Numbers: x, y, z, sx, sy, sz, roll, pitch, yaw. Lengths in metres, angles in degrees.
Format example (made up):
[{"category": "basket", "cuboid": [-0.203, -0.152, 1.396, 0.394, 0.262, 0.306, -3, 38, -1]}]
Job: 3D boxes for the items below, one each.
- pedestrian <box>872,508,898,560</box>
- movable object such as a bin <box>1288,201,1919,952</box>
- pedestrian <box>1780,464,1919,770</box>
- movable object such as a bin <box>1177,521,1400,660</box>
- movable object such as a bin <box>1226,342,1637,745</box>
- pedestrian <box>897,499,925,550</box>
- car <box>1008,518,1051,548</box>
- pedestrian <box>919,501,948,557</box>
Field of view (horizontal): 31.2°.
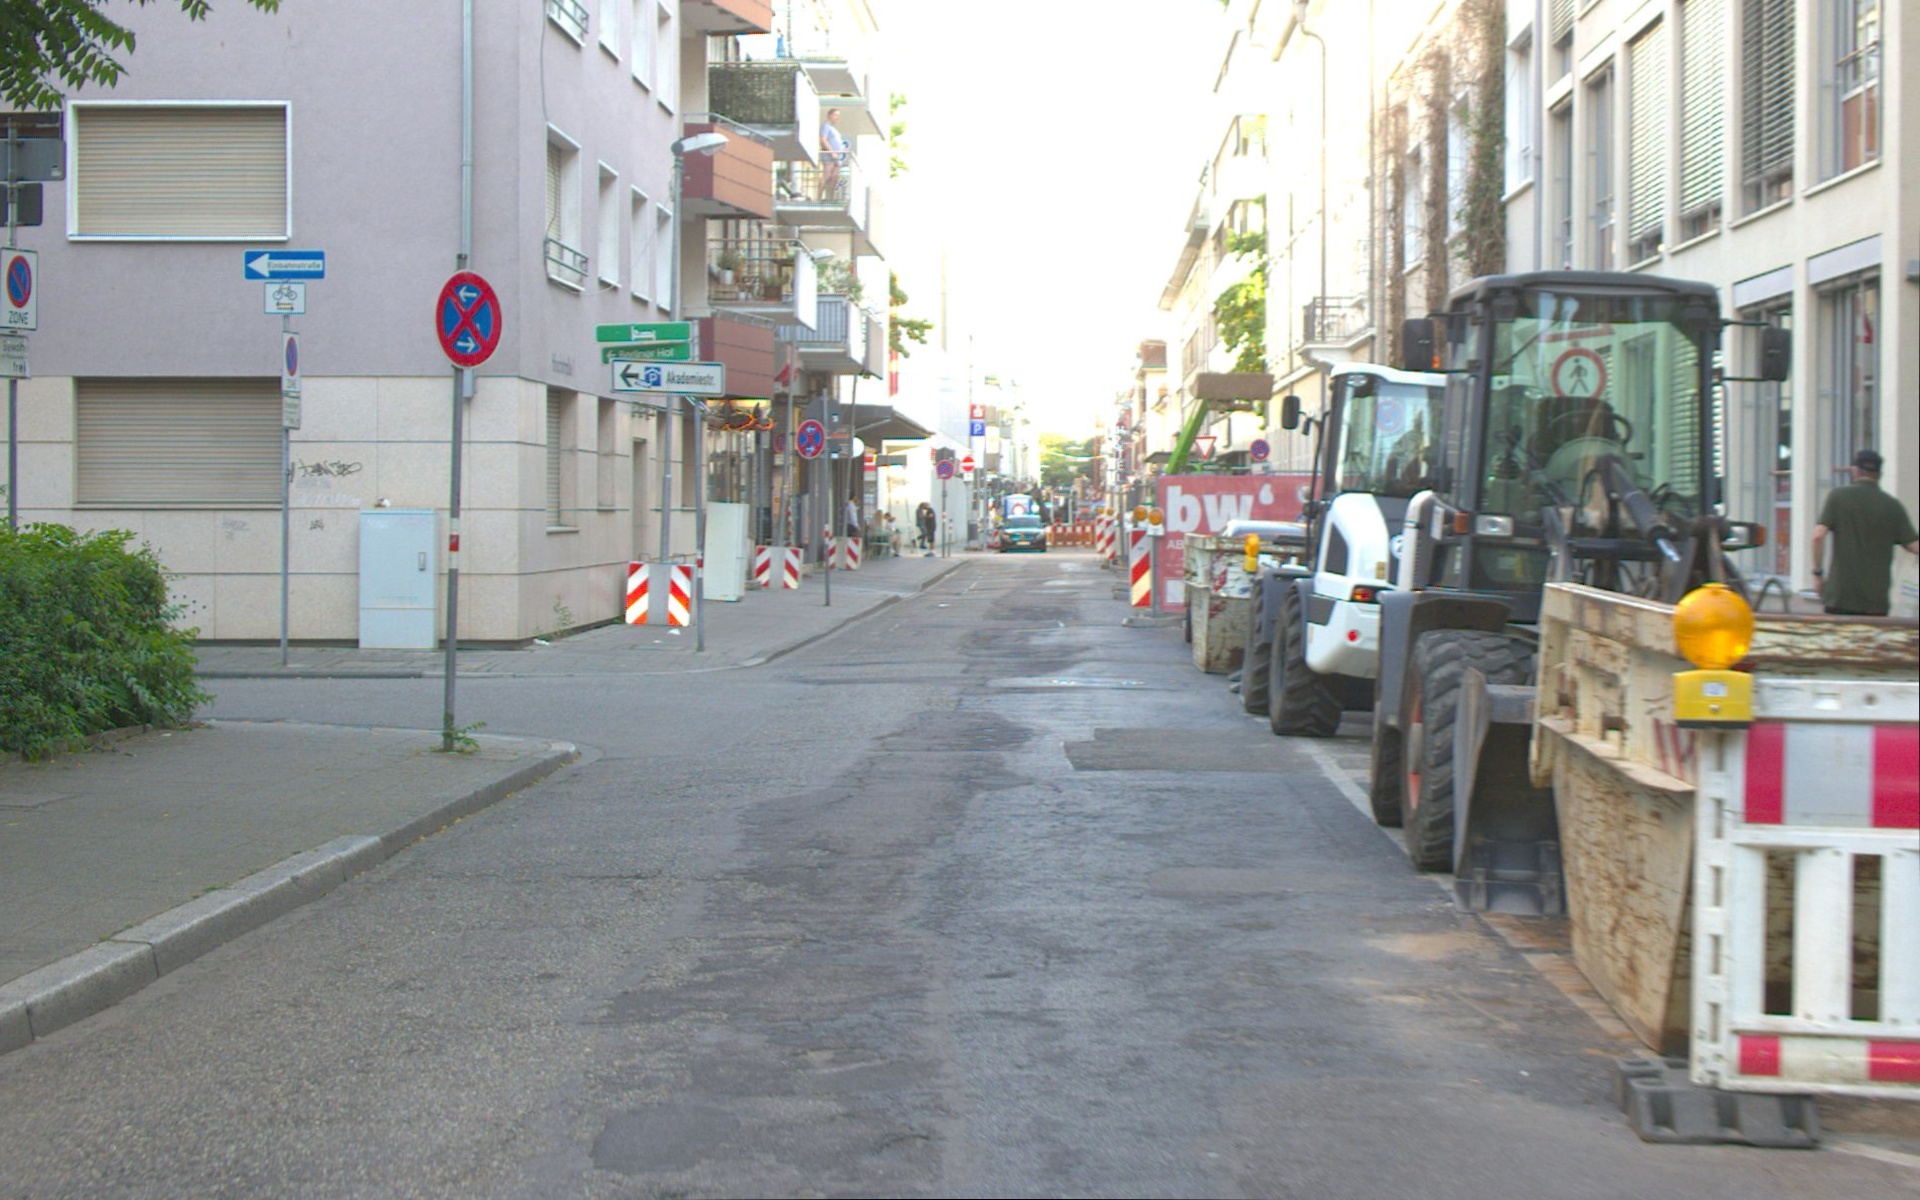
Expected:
[{"category": "pedestrian", "cuboid": [-2.106, -1.853, 96.352, 0.664, 1.433, 0.533, 0, 1, 6]}, {"category": "movable object such as a bin", "cuboid": [2.844, -0.160, 15.117, 2.277, 2.683, 5.649, 0, 2, 0]}, {"category": "pedestrian", "cuboid": [5.605, 0.092, 21.266, 0.887, 1.844, 0.876, 0, 1, 5]}, {"category": "movable object such as a bin", "cuboid": [3.491, -0.143, 37.216, 2.046, 1.406, 3.975, 0, 2, 0]}, {"category": "movable object such as a bin", "cuboid": [3.127, -0.413, 23.713, 2.277, 2.531, 4.098, 0, 2, 0]}, {"category": "pedestrian", "cuboid": [-1.519, -2.345, 107.254, 0.797, 1.588, 0.744, 0, 1, 5]}, {"category": "car", "cuboid": [2.658, -2.577, 132.359, 1.536, 1.130, 3.122, 0, 2, -1]}, {"category": "pedestrian", "cuboid": [-0.783, -2.129, 102.505, 0.797, 1.655, 0.744, 0, 1, 5]}]
